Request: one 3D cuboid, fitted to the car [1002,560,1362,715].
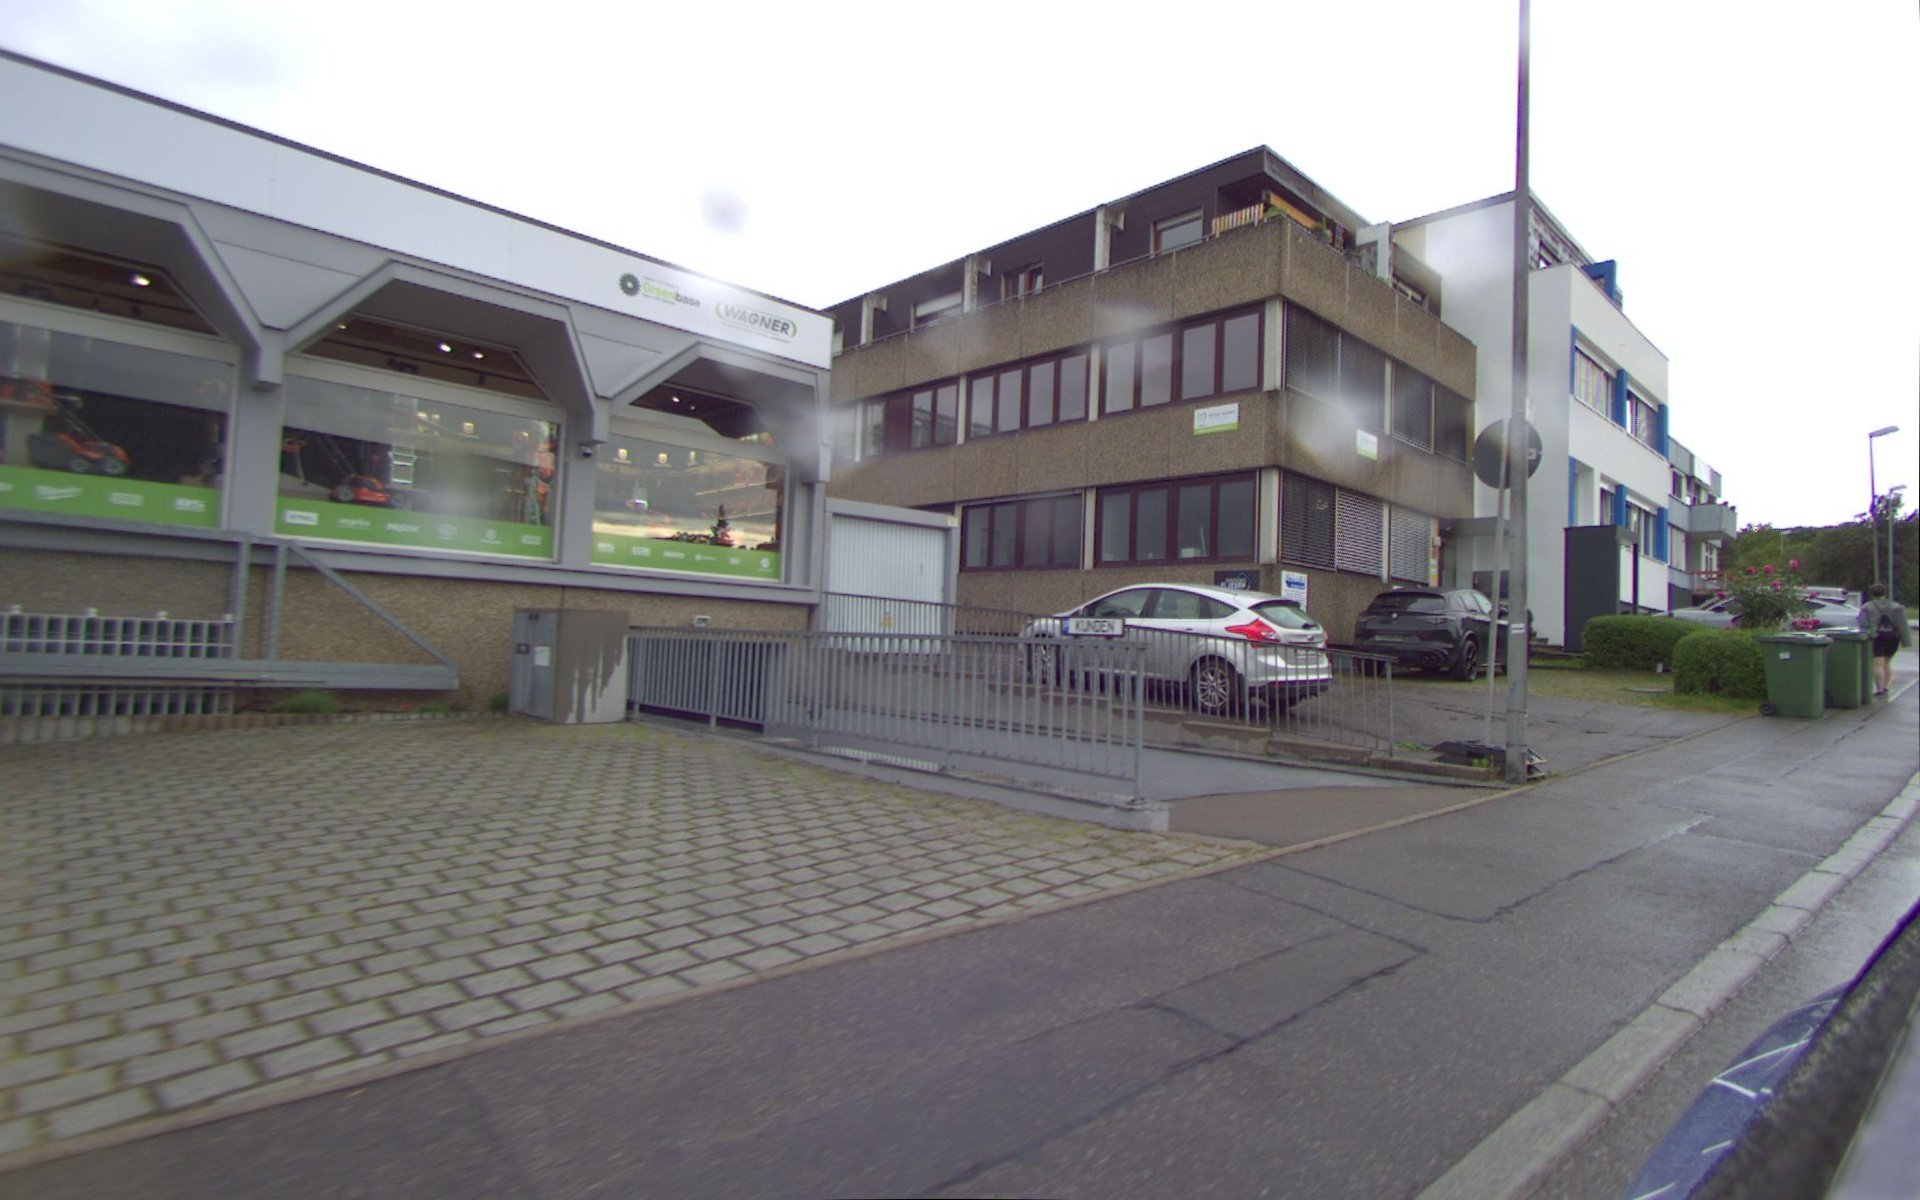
[{"bbox_3d":[2.719,0.335,13.043,1.970,1.593,4.125,-1,3,-44],"label":"car"}]

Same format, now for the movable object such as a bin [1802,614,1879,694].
[{"bbox_3d":[12.362,0.738,14.207,0.626,1.080,0.744,1,-1,-42],"label":"movable object such as a bin"}]

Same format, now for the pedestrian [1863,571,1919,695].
[{"bbox_3d":[13.963,0.477,15.026,0.794,1.790,0.737,0,0,-42],"label":"pedestrian"}]

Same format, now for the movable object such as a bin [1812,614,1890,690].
[{"bbox_3d":[12.916,0.728,14.671,0.794,1.043,0.772,0,-1,-42],"label":"movable object such as a bin"}]

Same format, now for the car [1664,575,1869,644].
[{"bbox_3d":[22.702,0.213,28.585,2.055,1.795,4.343,0,1,-45],"label":"car"}]

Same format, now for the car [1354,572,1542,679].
[{"bbox_3d":[9.157,0.385,18.824,4.400,1.772,1.750,-1,1,-44],"label":"car"}]

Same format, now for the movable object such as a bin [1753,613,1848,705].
[{"bbox_3d":[10.813,0.739,13.033,0.689,1.127,0.732,0,-1,-27],"label":"movable object such as a bin"}]

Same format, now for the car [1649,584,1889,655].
[{"bbox_3d":[20.814,0.432,26.169,2.044,1.557,4.602,0,2,-43],"label":"car"}]
